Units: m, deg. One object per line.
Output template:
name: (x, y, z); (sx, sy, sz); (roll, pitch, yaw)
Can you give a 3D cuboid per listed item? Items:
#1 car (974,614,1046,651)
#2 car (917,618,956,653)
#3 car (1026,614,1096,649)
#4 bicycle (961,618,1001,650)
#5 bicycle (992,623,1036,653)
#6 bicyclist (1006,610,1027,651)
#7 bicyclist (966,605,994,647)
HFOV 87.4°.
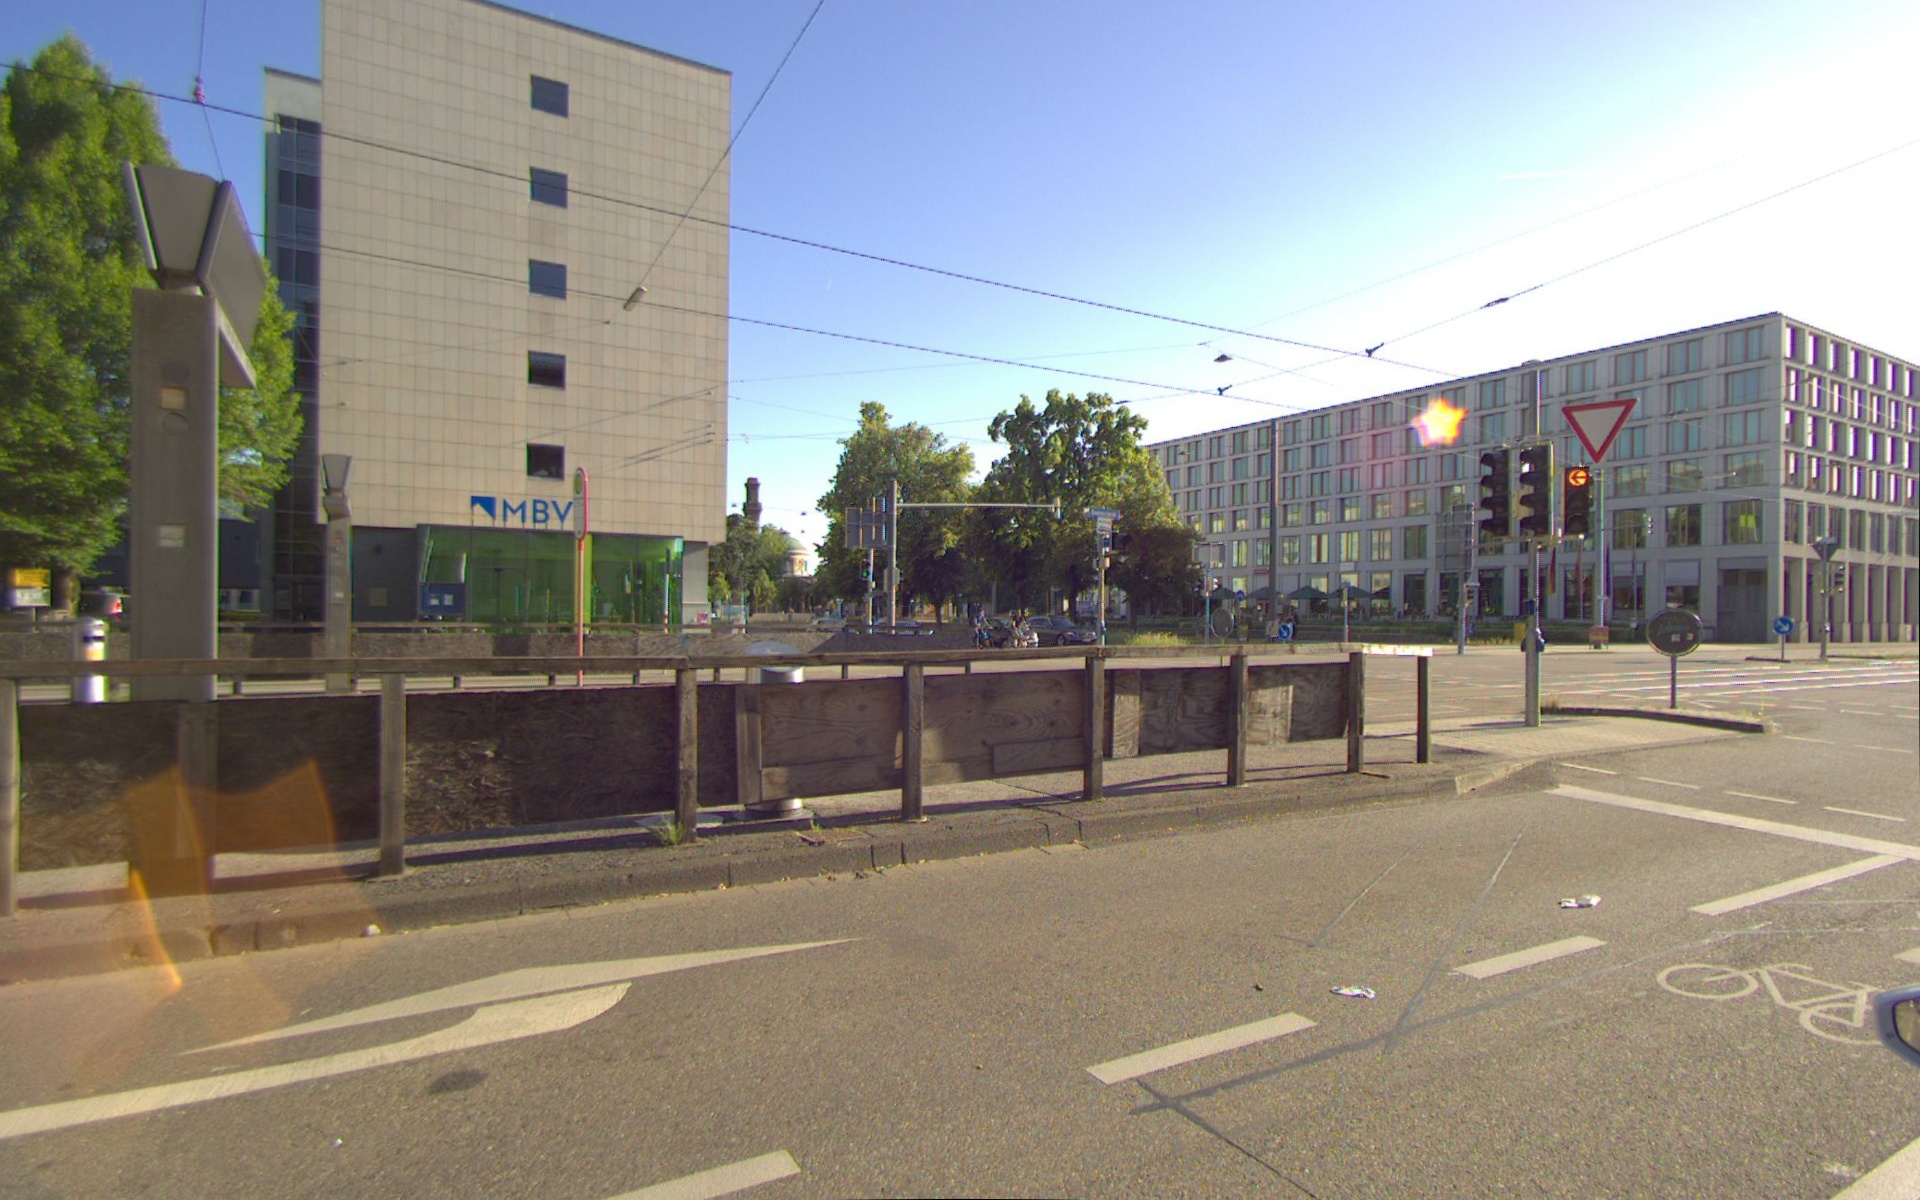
car: (2.205, 1.424, 45.117); (1.505, 1.526, 3.511); (1, 0, -32)
car: (-0.934, 1.444, 41.676); (1.441, 1.312, 3.229); (-1, 0, 1)
car: (4.836, 1.489, 48.497); (1.505, 1.526, 3.511); (1, 0, -32)
bicycle: (0.843, 1.403, 41.822); (0.874, 1.305, 2.042); (1, -1, -24)
bicycle: (2.123, 1.472, 39.651); (0.781, 1.137, 1.913); (1, -1, -31)
bicyclist: (2.229, 1.184, 39.486); (0.587, 1.603, 0.615); (1, -1, -32)
bicyclist: (0.835, 1.070, 41.854); (0.833, 1.717, 0.887); (1, -1, -24)
